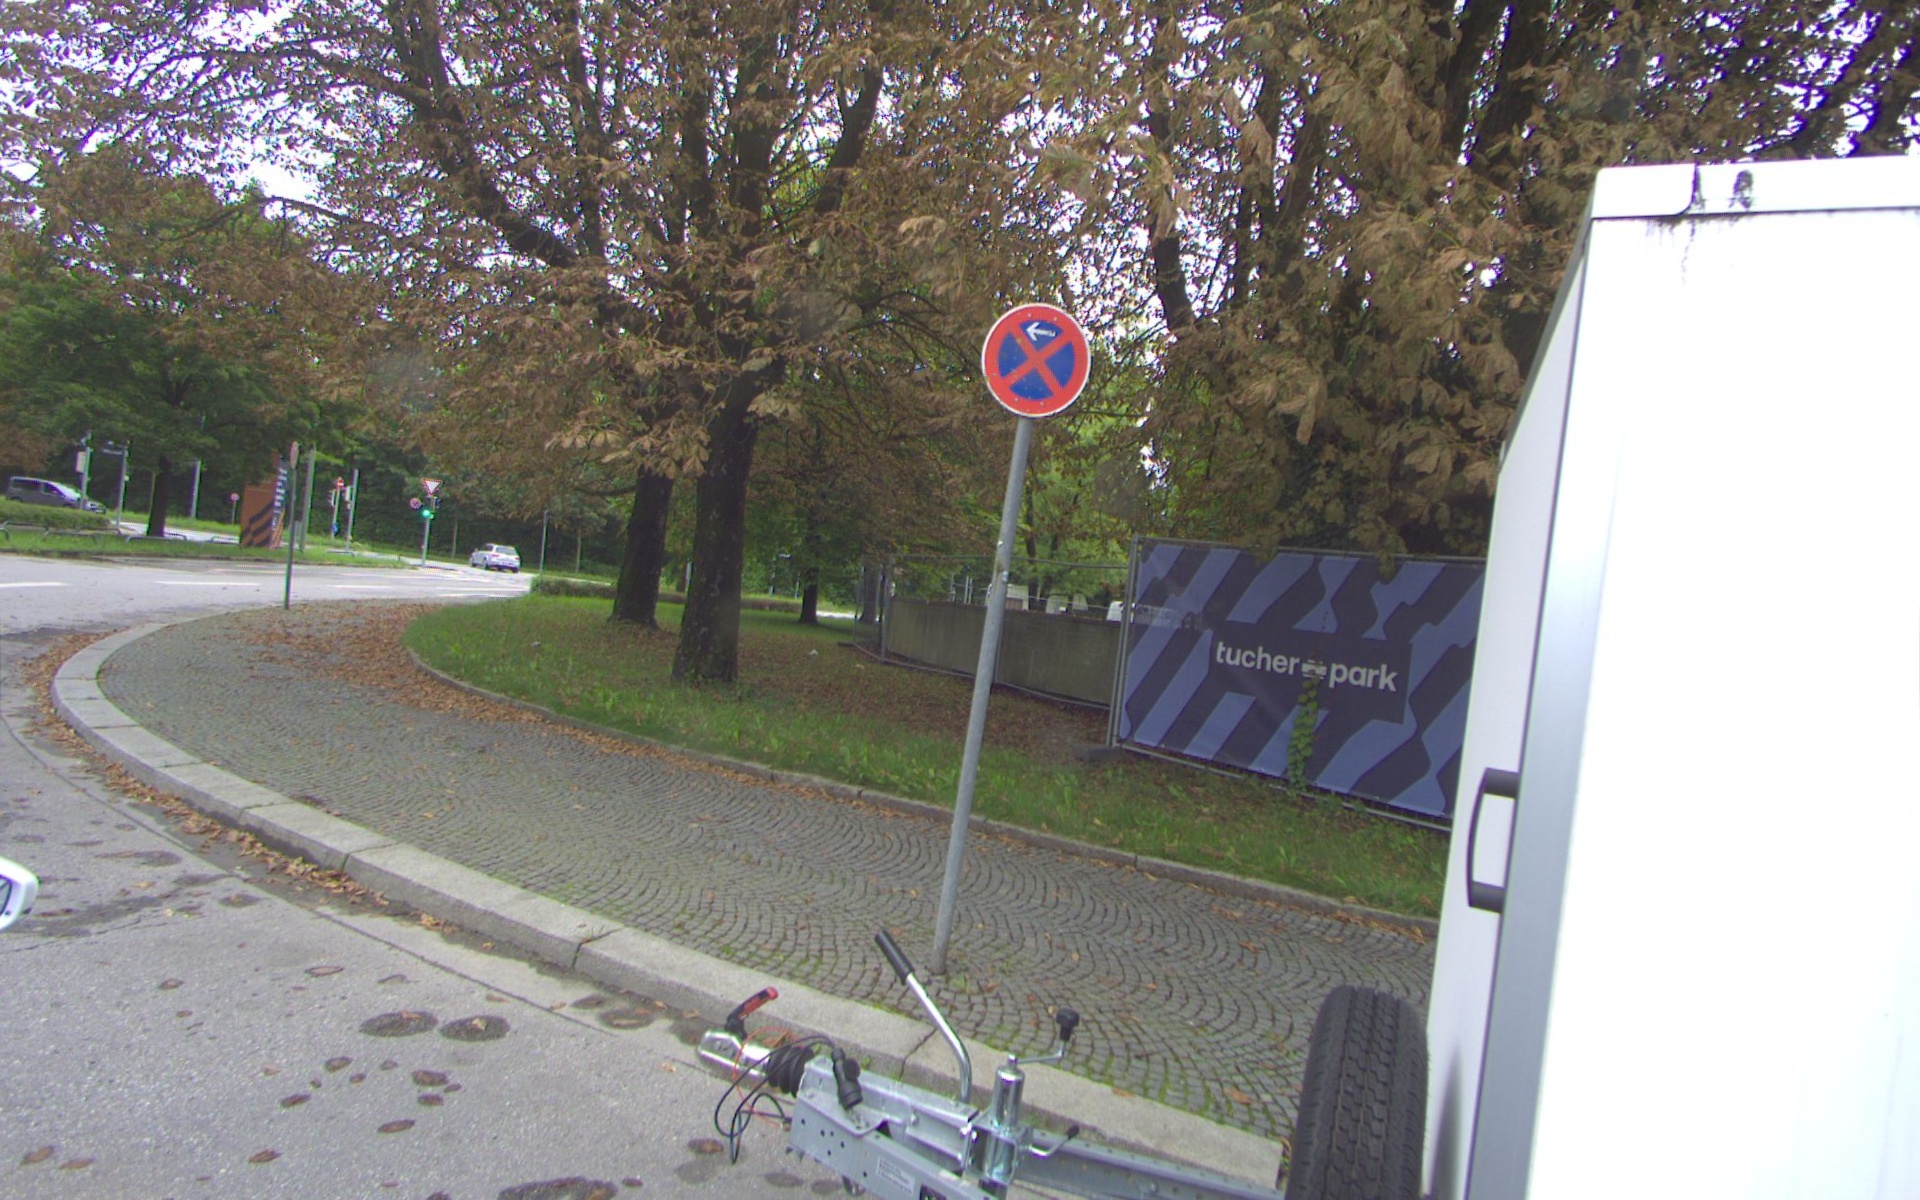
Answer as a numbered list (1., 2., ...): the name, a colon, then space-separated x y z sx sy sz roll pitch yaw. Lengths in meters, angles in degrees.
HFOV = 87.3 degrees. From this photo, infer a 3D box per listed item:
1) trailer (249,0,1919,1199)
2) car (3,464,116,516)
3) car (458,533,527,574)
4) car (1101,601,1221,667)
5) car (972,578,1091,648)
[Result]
1. trailer: 1.301 0.495 1.536 4.749 2.038 1.813 6 0 27
2. car: -48.629 -5.916 54.394 3.931 2.038 1.997 8 0 -8
3. car: -25.949 -2.600 55.812 4.070 1.771 1.990 7 0 44
4. car: 10.127 1.704 51.027 5.359 2.612 2.076 7 0 -2
5. car: 3.514 0.647 50.484 5.495 2.767 2.076 7 0 -2
